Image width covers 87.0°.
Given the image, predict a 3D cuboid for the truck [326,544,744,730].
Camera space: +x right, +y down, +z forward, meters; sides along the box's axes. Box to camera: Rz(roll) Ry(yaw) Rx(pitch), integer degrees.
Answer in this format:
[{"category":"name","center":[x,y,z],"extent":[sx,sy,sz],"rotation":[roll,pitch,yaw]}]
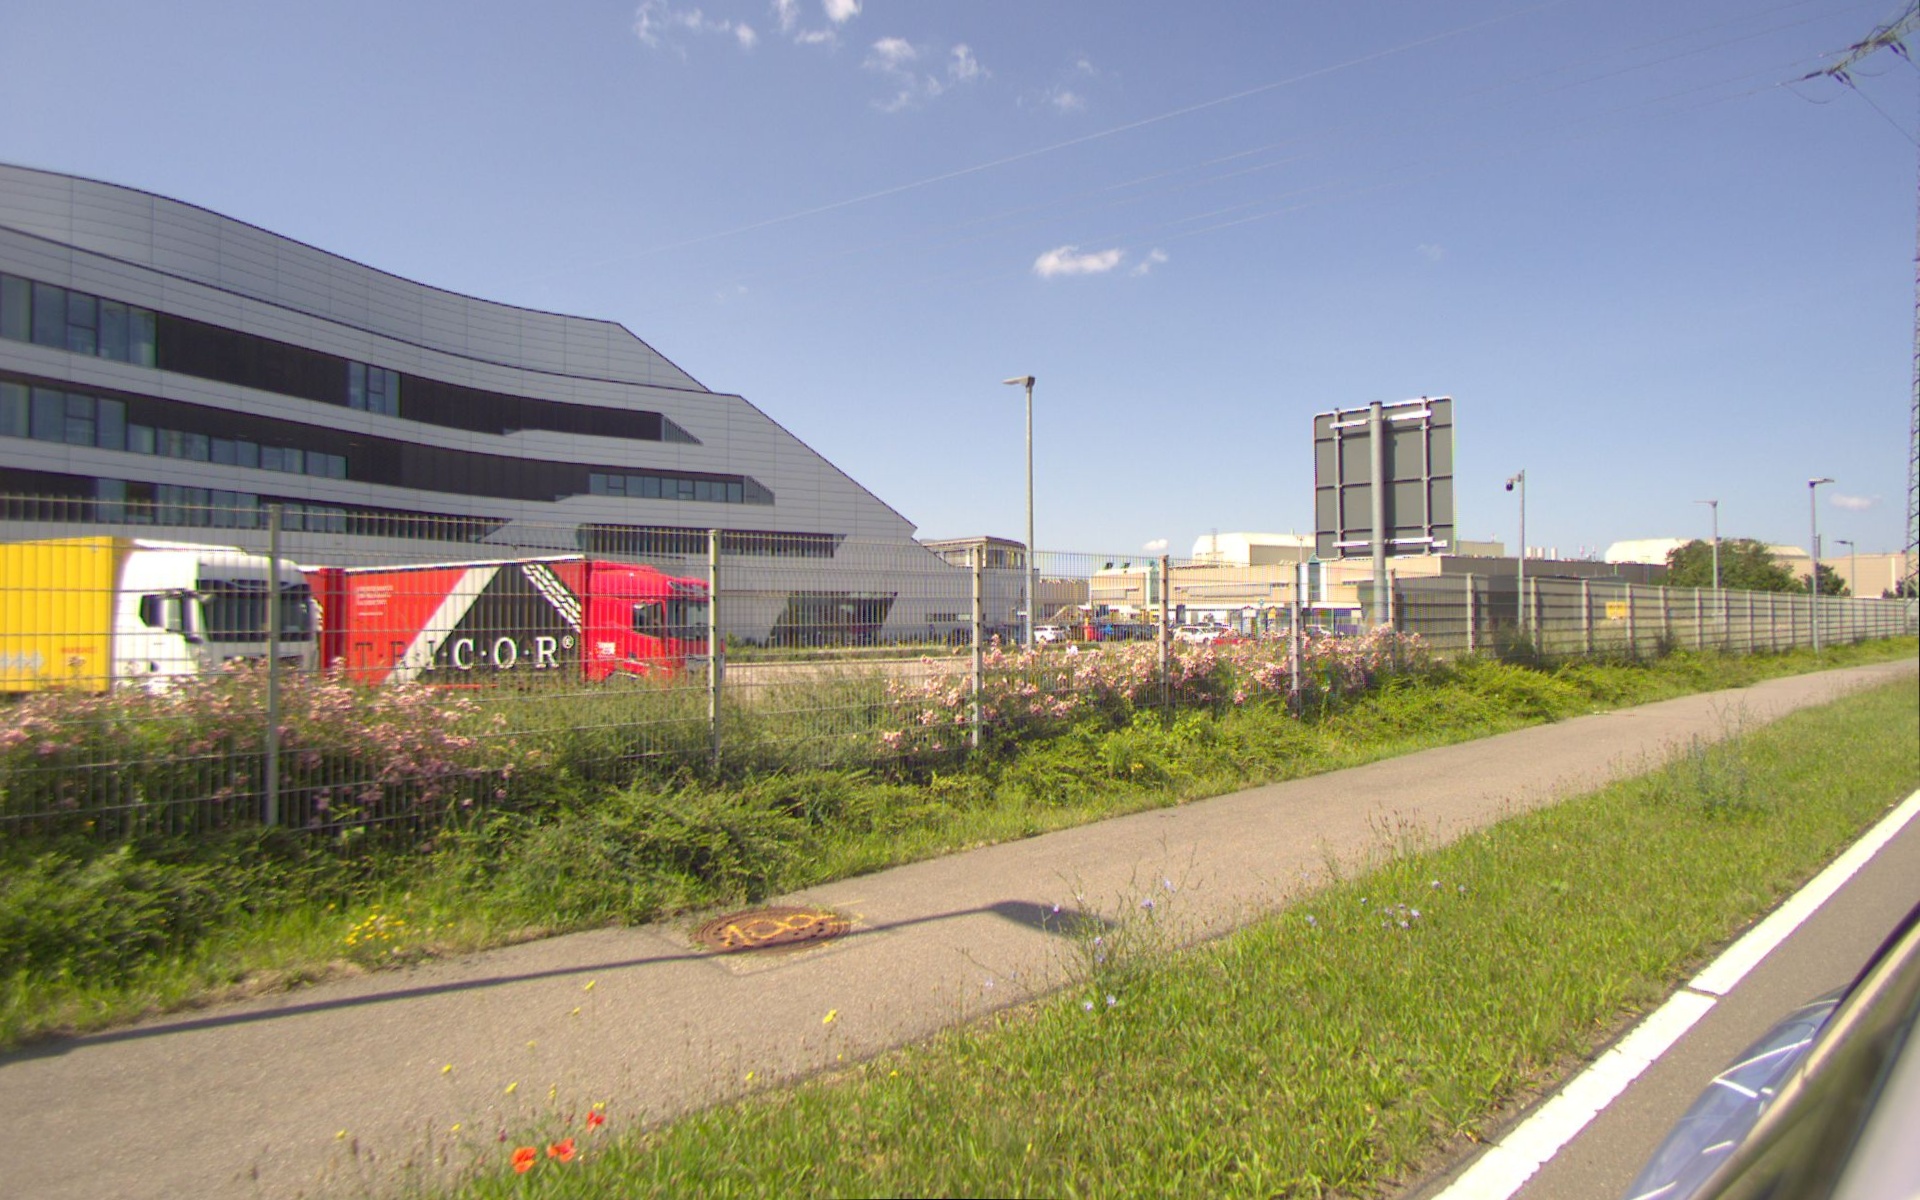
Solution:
[{"category":"truck","center":[-11.221,0.822,26.605],"extent":[10.826,4.310,3.012],"rotation":[0,0,18]}]

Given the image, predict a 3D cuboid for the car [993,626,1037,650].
[{"category":"car","center":[3.736,2.583,69.037],"extent":[1.443,1.554,3.057],"rotation":[0,-1,-34]}]

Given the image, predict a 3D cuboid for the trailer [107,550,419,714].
[{"category":"trailer","center":[-20.409,0.804,29.655],"extent":[8.601,4.350,3.011],"rotation":[0,0,19]}]

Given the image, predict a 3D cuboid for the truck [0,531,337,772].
[{"category":"truck","center":[-18.133,0.862,20.849],"extent":[10.829,4.225,2.806],"rotation":[0,0,19]}]

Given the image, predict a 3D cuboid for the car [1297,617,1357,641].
[{"category":"car","center":[32.031,2.550,88.386],"extent":[1.960,2.040,4.756],"rotation":[0,-2,-30]}]

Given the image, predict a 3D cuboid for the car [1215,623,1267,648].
[{"category":"car","center":[18.620,2.341,67.115],"extent":[1.427,1.554,3.152],"rotation":[0,-1,-34]}]

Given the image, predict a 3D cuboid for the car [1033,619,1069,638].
[{"category":"car","center":[7.579,2.364,84.505],"extent":[1.443,1.554,3.057],"rotation":[0,-1,-34]}]

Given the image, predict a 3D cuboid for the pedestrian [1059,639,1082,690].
[{"category":"pedestrian","center":[3.693,2.143,33.693],"extent":[0.563,1.674,0.484],"rotation":[0,-2,-36]}]

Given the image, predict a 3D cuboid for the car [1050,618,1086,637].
[{"category":"car","center":[9.233,2.352,86.414],"extent":[1.443,1.554,3.057],"rotation":[0,-1,-34]}]

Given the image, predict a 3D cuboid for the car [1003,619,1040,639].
[{"category":"car","center":[5.027,2.386,83.273],"extent":[1.443,1.554,3.057],"rotation":[0,-1,-34]}]

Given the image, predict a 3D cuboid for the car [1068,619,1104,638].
[{"category":"car","center":[10.980,2.483,88.170],"extent":[1.443,1.554,3.057],"rotation":[0,-1,-34]}]
